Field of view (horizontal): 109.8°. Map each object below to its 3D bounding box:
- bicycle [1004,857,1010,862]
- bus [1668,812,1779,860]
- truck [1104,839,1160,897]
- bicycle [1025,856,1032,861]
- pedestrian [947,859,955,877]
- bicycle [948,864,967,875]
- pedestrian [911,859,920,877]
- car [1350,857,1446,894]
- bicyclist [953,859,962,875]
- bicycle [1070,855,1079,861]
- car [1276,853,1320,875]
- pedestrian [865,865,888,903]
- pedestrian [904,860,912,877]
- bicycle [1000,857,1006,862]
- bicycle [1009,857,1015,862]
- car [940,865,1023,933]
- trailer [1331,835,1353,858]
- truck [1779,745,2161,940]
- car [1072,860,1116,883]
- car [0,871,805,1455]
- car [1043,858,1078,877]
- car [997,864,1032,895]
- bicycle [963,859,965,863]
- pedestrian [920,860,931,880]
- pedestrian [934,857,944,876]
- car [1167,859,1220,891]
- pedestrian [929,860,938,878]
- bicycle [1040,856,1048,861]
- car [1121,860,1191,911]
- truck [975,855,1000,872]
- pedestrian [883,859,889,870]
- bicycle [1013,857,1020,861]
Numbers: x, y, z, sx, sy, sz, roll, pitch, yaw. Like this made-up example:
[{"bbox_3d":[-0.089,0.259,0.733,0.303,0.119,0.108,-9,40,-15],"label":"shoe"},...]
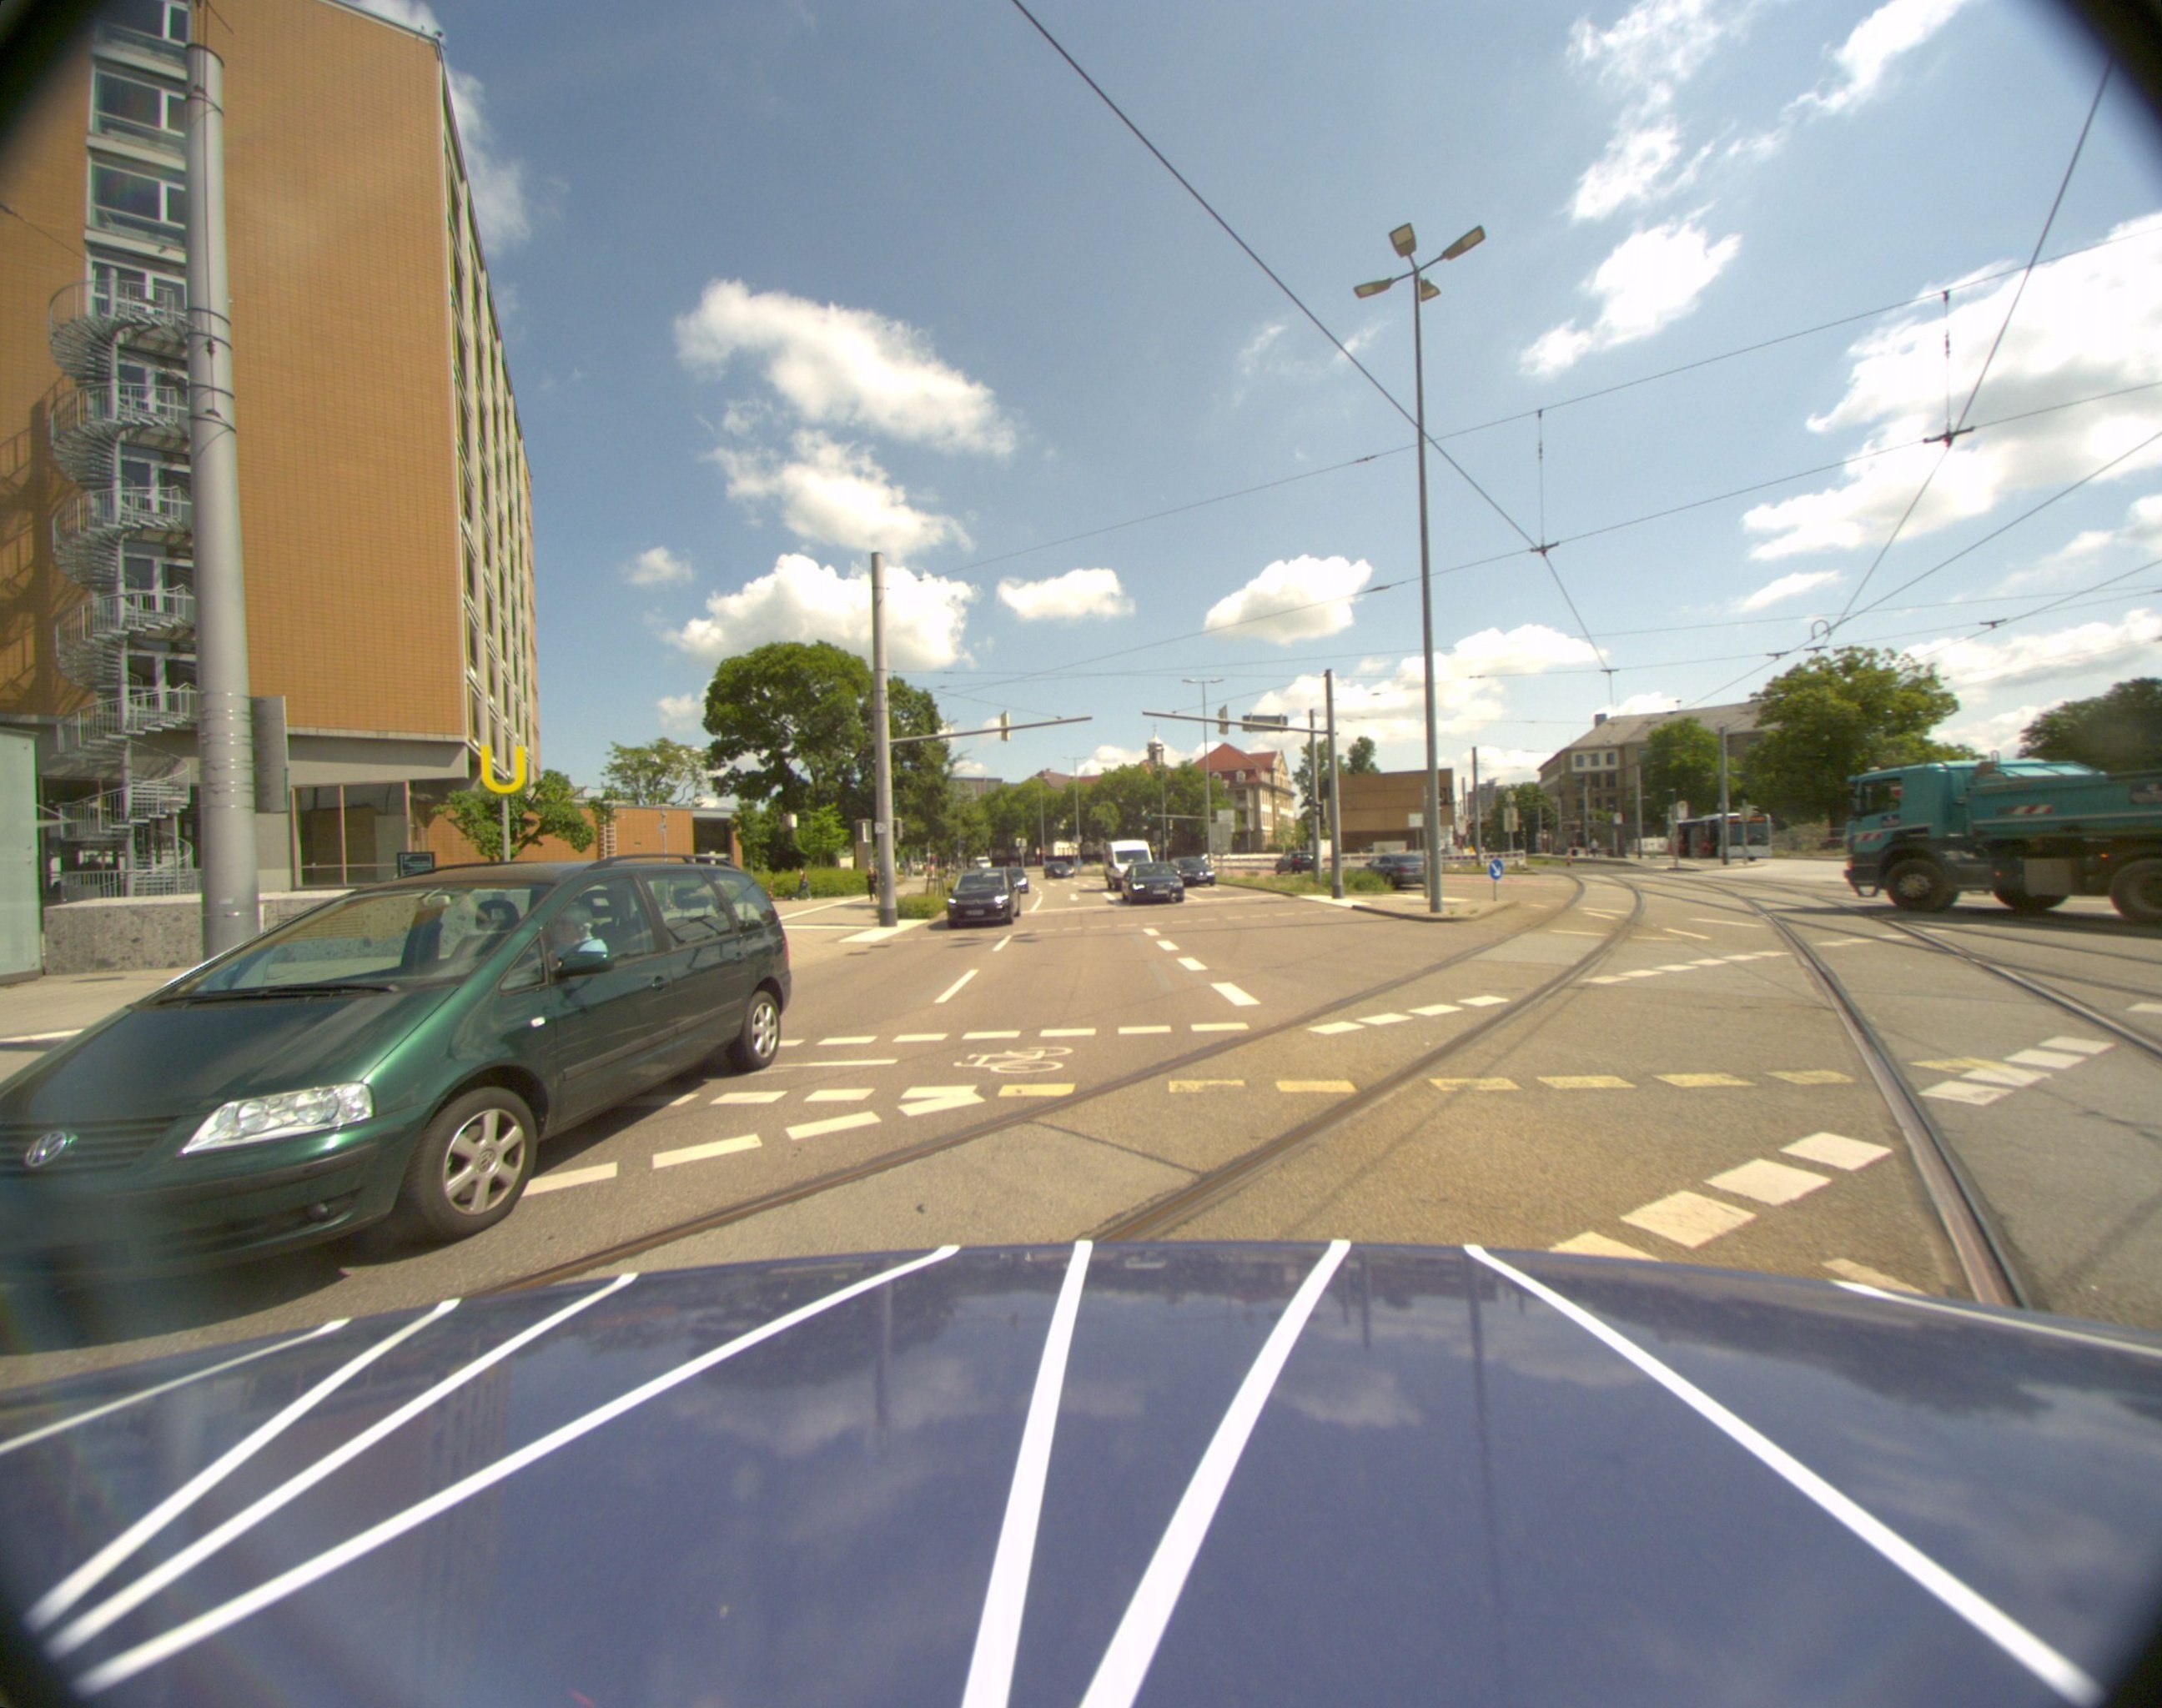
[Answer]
[{"bbox_3d":[-16.309,1.170,168.294,0.399,1.037,1.579,-3,1,-41],"label":"bicycle"},{"bbox_3d":[43.413,-1.319,51.854,2.589,2.843,12.283,-2,2,25],"label":"bus"},{"bbox_3d":[2.543,0.627,39.192,2.143,2.625,5.915,-3,1,-2],"label":"truck"},{"bbox_3d":[-11.312,1.057,162.909,1.635,1.037,0.399,-2,1,44],"label":"bicycle"},{"bbox_3d":[-12.140,1.284,70.894,0.652,1.616,0.774,1,1,-3],"label":"pedestrian"},{"bbox_3d":[-12.675,1.581,77.800,1.817,1.044,0.591,1,1,-20],"label":"bicycle"},{"bbox_3d":[-17.158,1.445,78.678,0.753,1.791,0.608,-1,0,-20],"label":"pedestrian"},{"bbox_3d":[13.003,0.836,31.499,1.658,1.383,4.773,-2,0,-4],"label":"car"},{"bbox_3d":[-12.667,1.302,77.796,0.831,1.592,0.578,1,1,-20],"label":"bicyclist"},{"bbox_3d":[-1.343,0.749,153.878,2.033,1.130,0.399,-2,1,39],"label":"bicycle"},{"bbox_3d":[15.084,0.658,53.061,1.658,1.460,4.152,-2,0,-3],"label":"car"},{"bbox_3d":[-9.078,1.317,33.684,0.758,1.581,0.761,-3,2,-4],"label":"pedestrian"},{"bbox_3d":[-17.809,1.462,78.194,0.753,1.742,0.608,-1,0,-20],"label":"pedestrian"},{"bbox_3d":[-17.456,1.205,169.614,0.399,1.037,1.757,-3,1,-41],"label":"bicycle"},{"bbox_3d":[-15.191,1.168,167.001,0.399,0.998,1.757,-3,1,-41],"label":"bicycle"},{"bbox_3d":[-2.835,1.242,22.698,1.863,1.613,4.519,-4,1,-1],"label":"car"},{"bbox_3d":[35.122,-1.016,102.372,1.997,2.897,4.368,-2,2,9],"label":"trailer"},{"bbox_3d":[17.243,-0.213,12.906,2.892,2.835,8.793,-2,0,2],"label":"truck"},{"bbox_3d":[0.908,1.294,57.422,1.754,1.496,4.513,-4,1,-20],"label":"car"},{"bbox_3d":[-3.504,1.017,4.524,1.798,1.712,4.450,-4,-1,3],"label":"car"},{"bbox_3d":[-1.835,1.132,66.572,1.754,1.496,4.513,-4,1,-19],"label":"car"},{"bbox_3d":[-3.637,1.383,41.895,1.766,1.409,4.361,-4,1,-4],"label":"car"},{"bbox_3d":[-28.121,1.663,182.912,0.382,1.101,1.669,-2,0,-6],"label":"bicycle"},{"bbox_3d":[-14.336,1.479,70.017,0.759,1.811,0.637,-3,2,-19],"label":"pedestrian"},{"bbox_3d":[-14.030,1.205,74.864,0.759,1.810,0.778,1,0,-25],"label":"pedestrian"},{"bbox_3d":[5.559,1.012,38.201,1.752,1.426,4.520,-3,-1,-2],"label":"car"},{"bbox_3d":[-13.626,1.366,70.233,0.589,1.617,0.726,-3,2,-19],"label":"pedestrian"},{"bbox_3d":[-7.755,1.019,159.364,1.952,1.037,0.399,-2,1,44],"label":"bicycle"},{"bbox_3d":[2.663,1.068,27.999,1.933,1.632,4.791,-2,0,-1],"label":"car"},{"bbox_3d":[-14.449,1.455,117.196,2.465,2.288,5.805,-4,1,-21],"label":"truck"},{"bbox_3d":[-30.837,1.698,120.035,0.753,1.767,0.879,-1,0,-33],"label":"pedestrian"},{"bbox_3d":[-14.001,1.089,165.622,0.399,1.037,1.757,-3,1,-43],"label":"bicycle"}]
